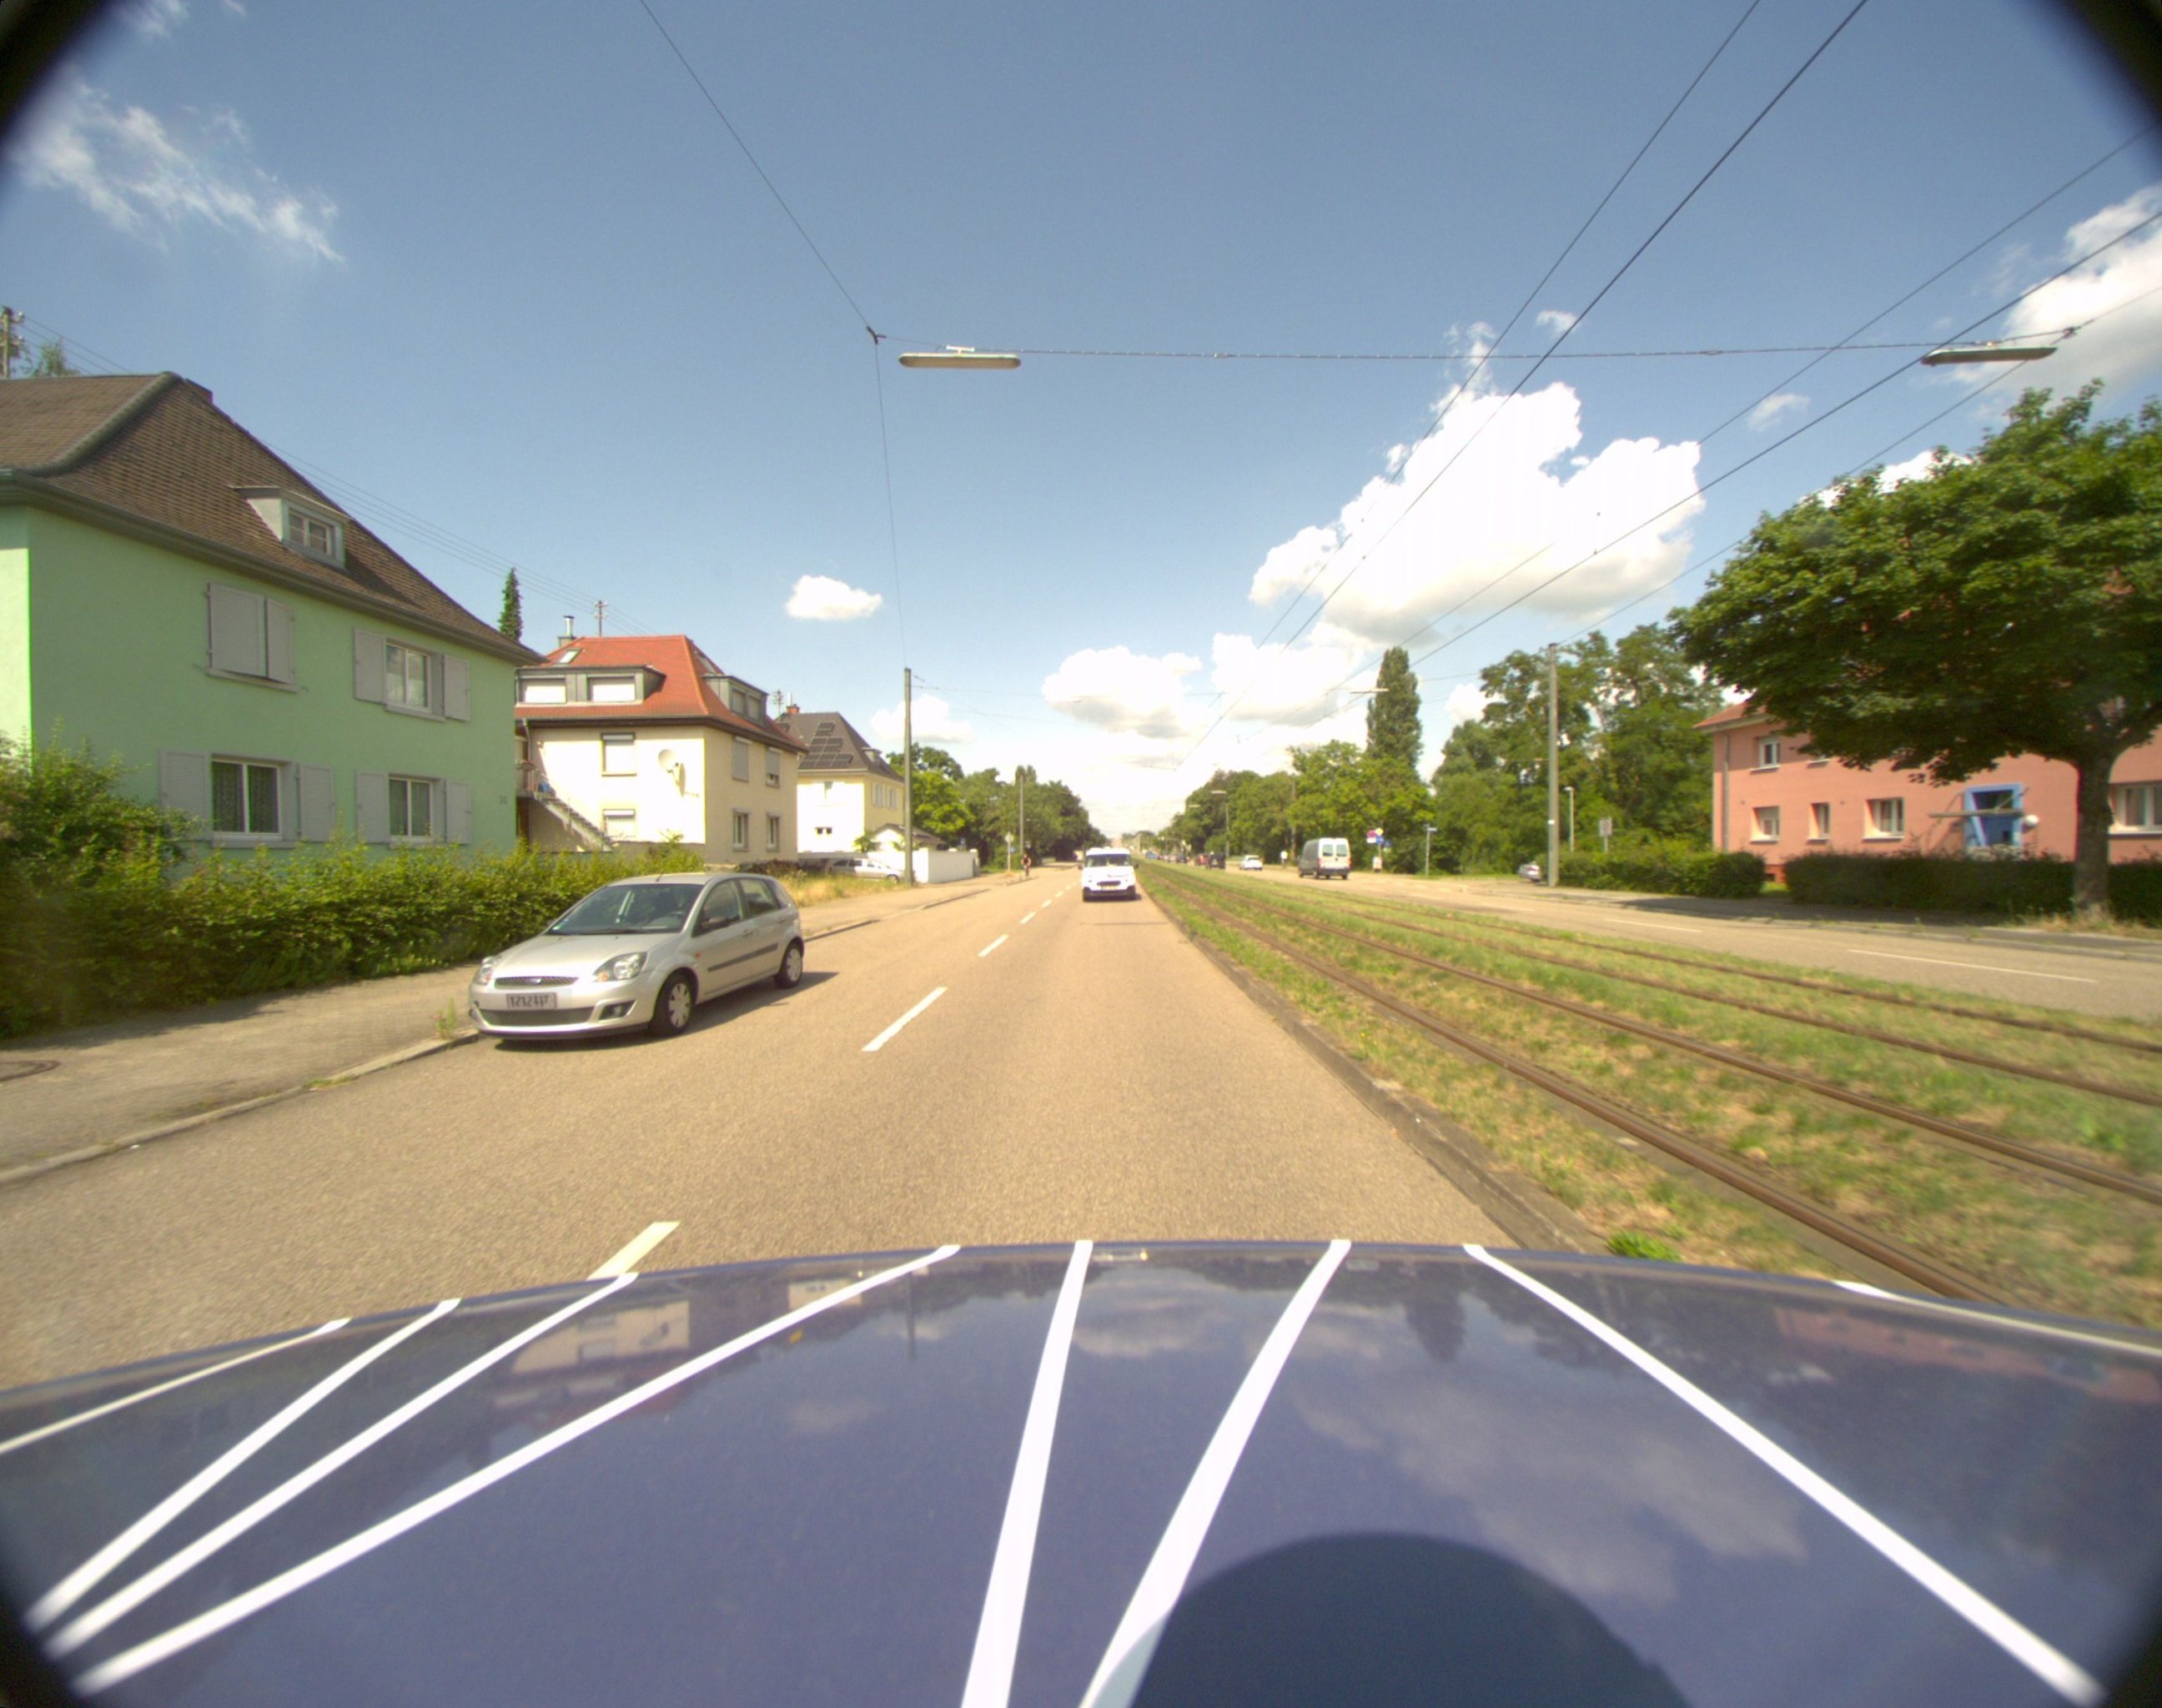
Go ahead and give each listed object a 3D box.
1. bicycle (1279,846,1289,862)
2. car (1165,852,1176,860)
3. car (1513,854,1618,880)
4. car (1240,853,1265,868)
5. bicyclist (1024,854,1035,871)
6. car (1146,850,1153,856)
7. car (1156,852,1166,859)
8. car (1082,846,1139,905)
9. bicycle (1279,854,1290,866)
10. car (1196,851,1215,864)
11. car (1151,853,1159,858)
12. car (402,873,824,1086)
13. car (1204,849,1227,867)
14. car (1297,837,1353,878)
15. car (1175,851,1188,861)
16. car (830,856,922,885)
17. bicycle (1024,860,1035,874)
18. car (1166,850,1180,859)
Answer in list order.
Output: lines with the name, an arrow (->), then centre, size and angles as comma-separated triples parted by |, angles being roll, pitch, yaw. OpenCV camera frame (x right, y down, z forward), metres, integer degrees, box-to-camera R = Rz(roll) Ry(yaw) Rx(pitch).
bicycle -> 20.582, -0.006, 76.932 | 0.801, 1.675, 0.952 | -1, 1, 3
car -> 17.925, 0.420, 152.272 | 1.921, 1.642, 4.277 | -1, 0, 3
car -> 26.559, 0.713, 41.817 | 4.465, 1.397, 2.001 | 0, 0, 10
car -> 16.951, 0.626, 75.333 | 1.689, 1.422, 4.277 | -1, 0, 2
bicyclist -> -4.023, 0.643, 59.517 | 0.690, 1.345, 0.665 | 0, 1, 9
car -> 22.177, -0.323, 246.124 | 1.998, 2.002, 3.999 | -2, 1, 1
car -> 17.808, 0.323, 169.255 | 2.120, 1.642, 4.277 | -1, 0, 3
car -> 0.959, 0.678, 26.781 | 1.777, 1.850, 4.375 | -2, 0, 0
bicycle -> 20.597, 0.646, 76.955 | 0.642, 1.181, 1.957 | 0, 0, 4
car -> 16.080, 0.410, 98.370 | 1.731, 1.569, 4.276 | -1, 0, 1
car -> 21.228, 0.419, 218.238 | 2.120, 1.642, 4.277 | -1, 0, 3
car -> -4.406, 1.053, 8.063 | 1.741, 1.481, 4.094 | -2, 1, 3
car -> 13.712, 0.401, 77.728 | 1.689, 1.736, 4.228 | -1, 0, 2
car -> 15.389, 0.179, 48.287 | 2.036, 2.422, 5.779 | 1, 0, 4
car -> 15.477, 0.291, 117.336 | 1.731, 1.386, 4.277 | -1, 0, 3
car -> -10.926, 0.869, 40.671 | 4.459, 1.452, 1.764 | 1, 0, 3
bicycle -> -4.007, 1.047, 59.512 | 0.556, 1.059, 1.524 | 0, 0, 9
car -> 16.399, 0.056, 135.258 | 2.120, 1.642, 4.277 | -1, 0, 3
